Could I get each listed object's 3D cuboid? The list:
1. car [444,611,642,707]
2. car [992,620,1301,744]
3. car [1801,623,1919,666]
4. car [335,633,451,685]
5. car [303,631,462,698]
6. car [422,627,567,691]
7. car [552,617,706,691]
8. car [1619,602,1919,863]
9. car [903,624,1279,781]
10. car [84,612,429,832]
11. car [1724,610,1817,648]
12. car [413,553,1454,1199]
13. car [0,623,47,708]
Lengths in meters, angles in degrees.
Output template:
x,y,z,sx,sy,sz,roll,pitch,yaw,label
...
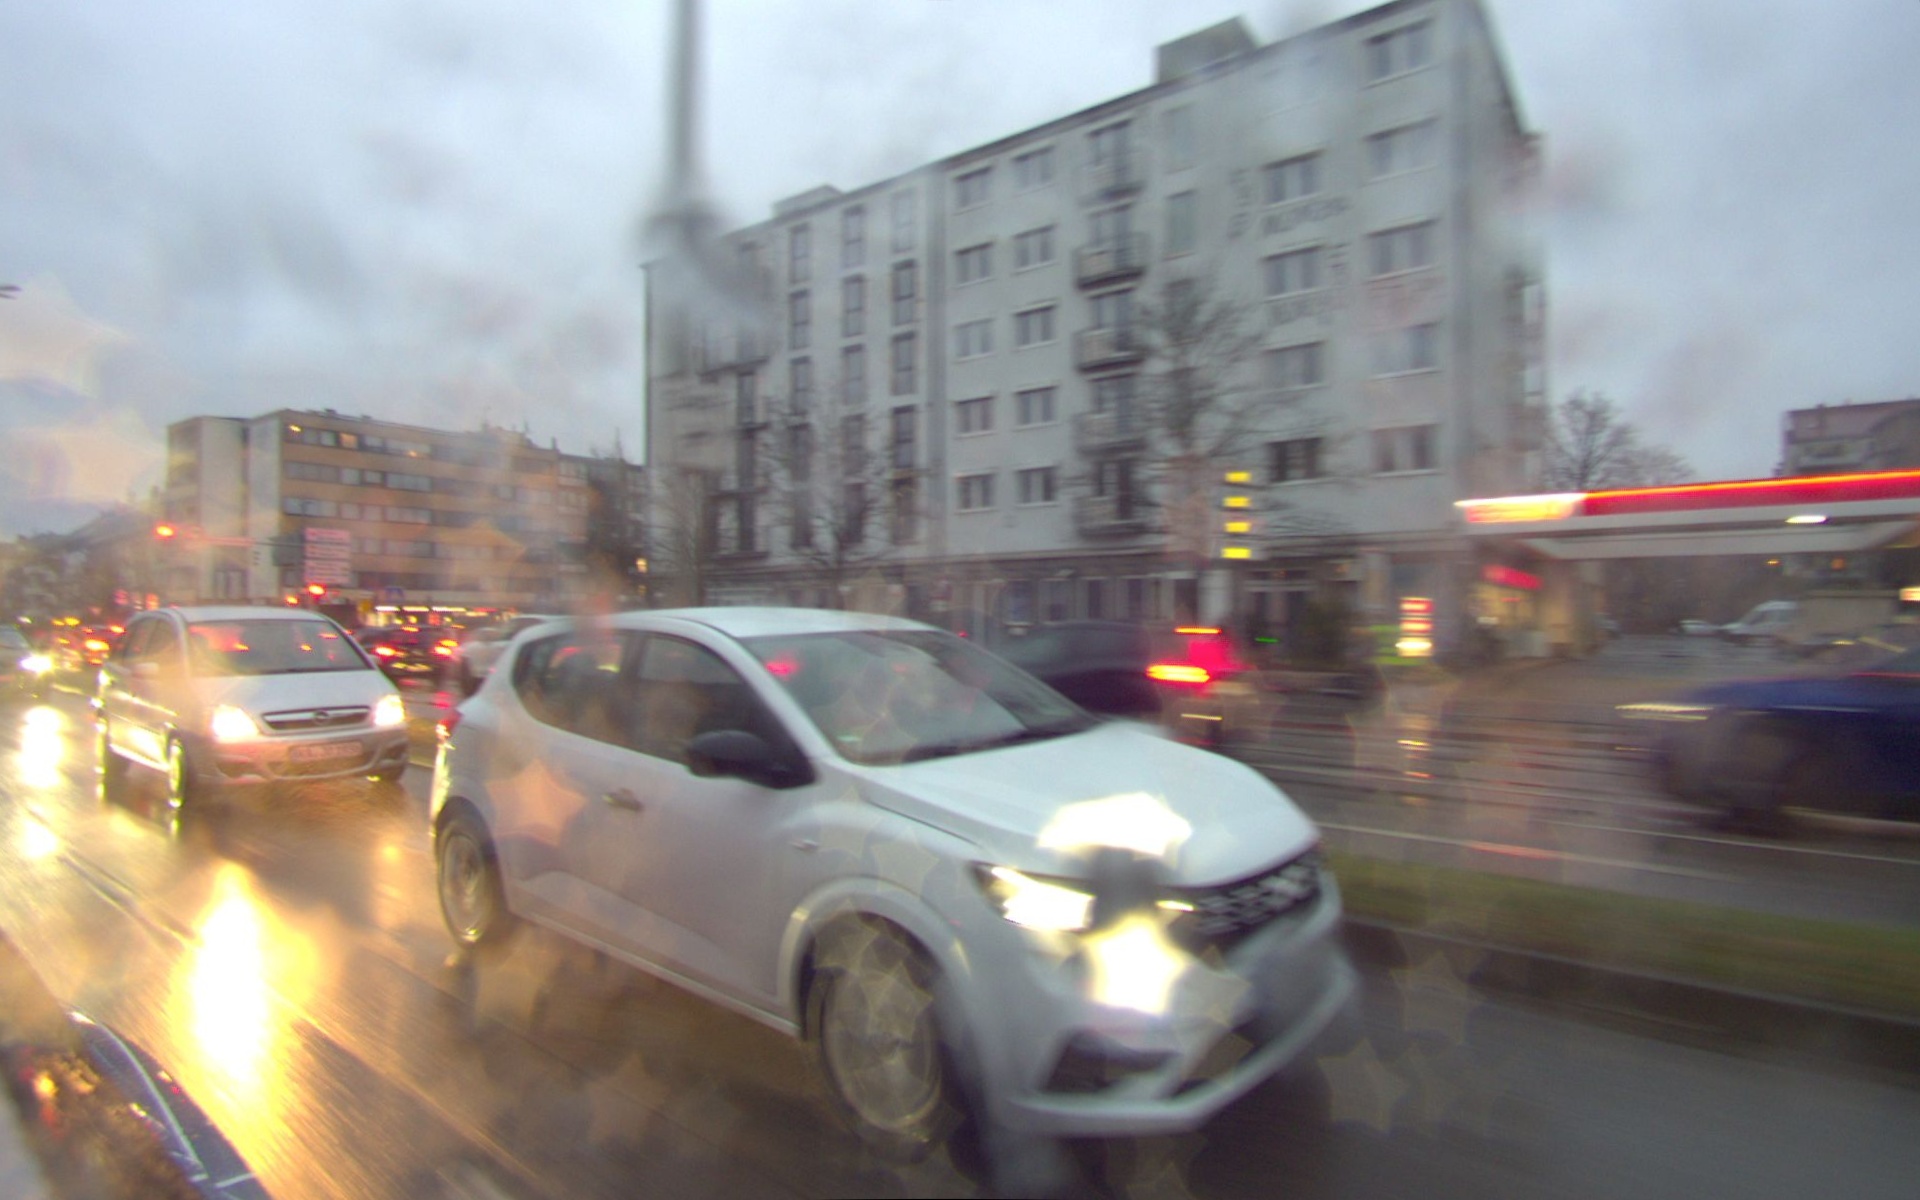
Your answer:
x,y,z,sx,sy,sz,roll,pitch,yaw,label
-8.804,1.195,21.201,4.529,1.796,1.943,-2,-3,39,car
2.626,1.131,14.981,4.279,1.579,1.627,-2,-3,42,car
30.944,1.483,34.017,3.993,1.391,1.938,-1,-2,37,car
-18.413,1.870,32.791,4.189,1.580,1.874,-2,-3,39,car
-14.525,1.562,25.367,4.529,1.526,1.943,-2,-3,39,car
-13.178,1.635,28.559,4.529,1.652,1.943,-2,-3,39,car
-7.862,1.224,23.899,3.801,1.593,1.770,-1,-2,41,car
7.139,0.828,6.459,4.661,1.643,1.626,-3,-3,45,car
1.364,1.068,11.739,4.143,1.498,1.627,-2,-3,42,car
-6.510,0.922,9.185,4.107,1.560,1.628,-2,-2,41,car
46.064,1.651,57.650,3.993,2.129,1.975,-1,-2,37,car
-0.466,0.733,3.935,3.997,1.498,1.609,-2,-3,41,car
-19.293,1.245,19.578,3.994,1.556,1.732,-2,-3,38,car
